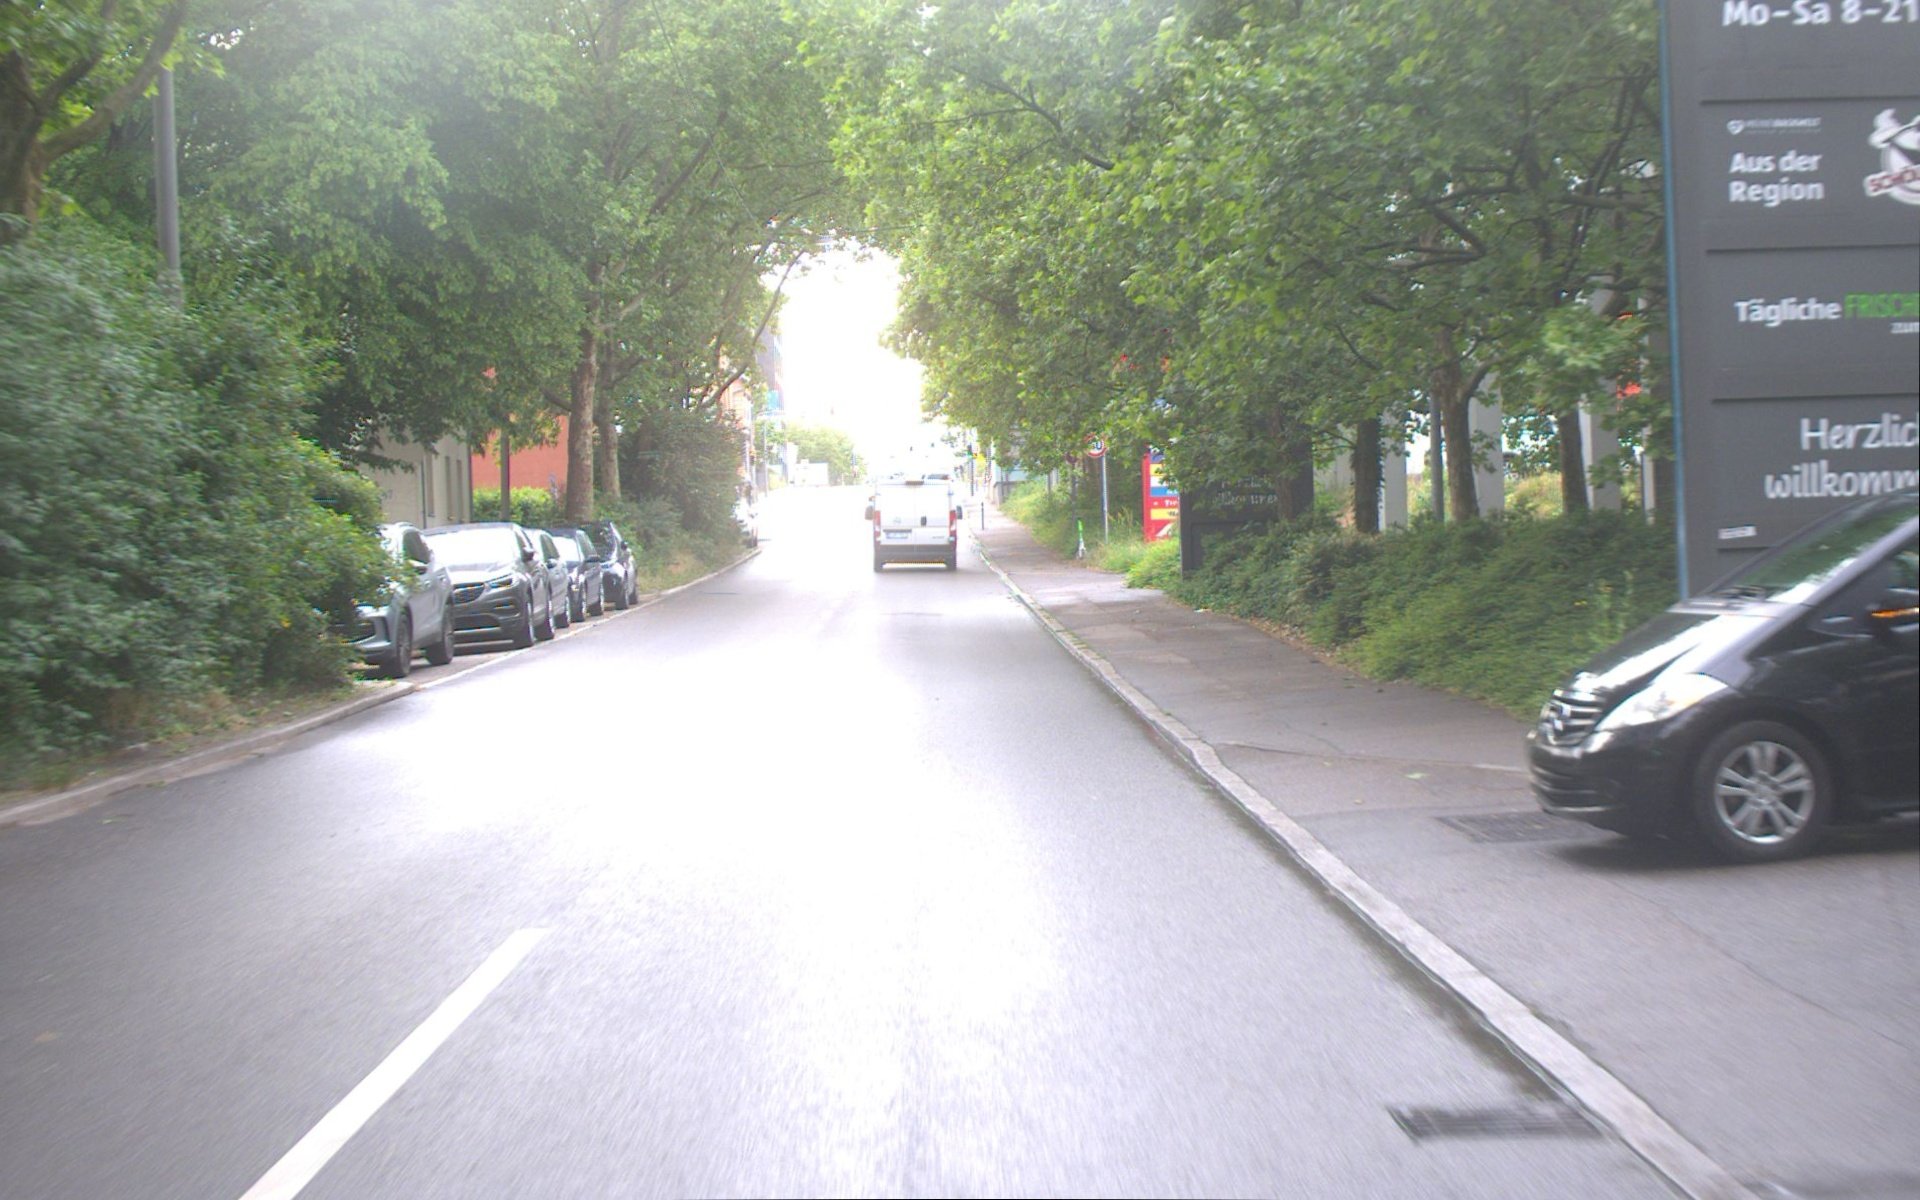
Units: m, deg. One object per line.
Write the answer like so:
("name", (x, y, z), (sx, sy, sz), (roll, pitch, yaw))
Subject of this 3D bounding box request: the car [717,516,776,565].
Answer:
("car", (-7.102, -1.993, 114.559), (1.691, 1.537, 4.117), (-2, 1, 0))

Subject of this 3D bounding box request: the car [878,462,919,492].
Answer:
("car", (-3.746, -7.496, 209.748), (2.159, 1.703, 3.872), (0, 0, 4))

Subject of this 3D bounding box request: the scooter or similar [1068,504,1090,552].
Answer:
("scooter or similar", (2.933, -1.757, 84.656), (0.425, 1.138, 1.529), (1, 0, -2))

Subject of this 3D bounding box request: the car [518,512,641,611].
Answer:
("car", (-6.576, -0.699, 59.713), (1.647, 1.532, 4.019), (-5, 2, -1))

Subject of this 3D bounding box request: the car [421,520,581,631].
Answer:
("car", (-6.533, -0.382, 49.275), (1.672, 1.503, 4.123), (0, 1, 1))

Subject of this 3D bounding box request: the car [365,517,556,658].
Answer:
("car", (-6.295, -0.201, 43.755), (1.864, 1.585, 4.240), (-4, 2, -2))

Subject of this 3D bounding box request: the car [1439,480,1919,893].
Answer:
("car", (4.270, 0.255, 14.982), (3.848, 1.542, 2.027), (-4, 1, -6))

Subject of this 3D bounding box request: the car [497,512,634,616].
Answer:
("car", (-6.149, -0.598, 53.885), (1.672, 1.503, 3.874), (2, 2, 0))

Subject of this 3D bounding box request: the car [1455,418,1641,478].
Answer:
("car", (13.940, -3.610, 81.657), (4.100, 1.371, 1.903), (0, 1, 0))

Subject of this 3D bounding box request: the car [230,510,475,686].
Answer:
("car", (-6.671, -0.081, 38.207), (1.734, 1.651, 4.564), (-5, 2, 1))

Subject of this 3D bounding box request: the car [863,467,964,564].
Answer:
("car", (-1.118, -2.050, 84.391), (2.336, 2.223, 4.000), (-2, 0, 0))
